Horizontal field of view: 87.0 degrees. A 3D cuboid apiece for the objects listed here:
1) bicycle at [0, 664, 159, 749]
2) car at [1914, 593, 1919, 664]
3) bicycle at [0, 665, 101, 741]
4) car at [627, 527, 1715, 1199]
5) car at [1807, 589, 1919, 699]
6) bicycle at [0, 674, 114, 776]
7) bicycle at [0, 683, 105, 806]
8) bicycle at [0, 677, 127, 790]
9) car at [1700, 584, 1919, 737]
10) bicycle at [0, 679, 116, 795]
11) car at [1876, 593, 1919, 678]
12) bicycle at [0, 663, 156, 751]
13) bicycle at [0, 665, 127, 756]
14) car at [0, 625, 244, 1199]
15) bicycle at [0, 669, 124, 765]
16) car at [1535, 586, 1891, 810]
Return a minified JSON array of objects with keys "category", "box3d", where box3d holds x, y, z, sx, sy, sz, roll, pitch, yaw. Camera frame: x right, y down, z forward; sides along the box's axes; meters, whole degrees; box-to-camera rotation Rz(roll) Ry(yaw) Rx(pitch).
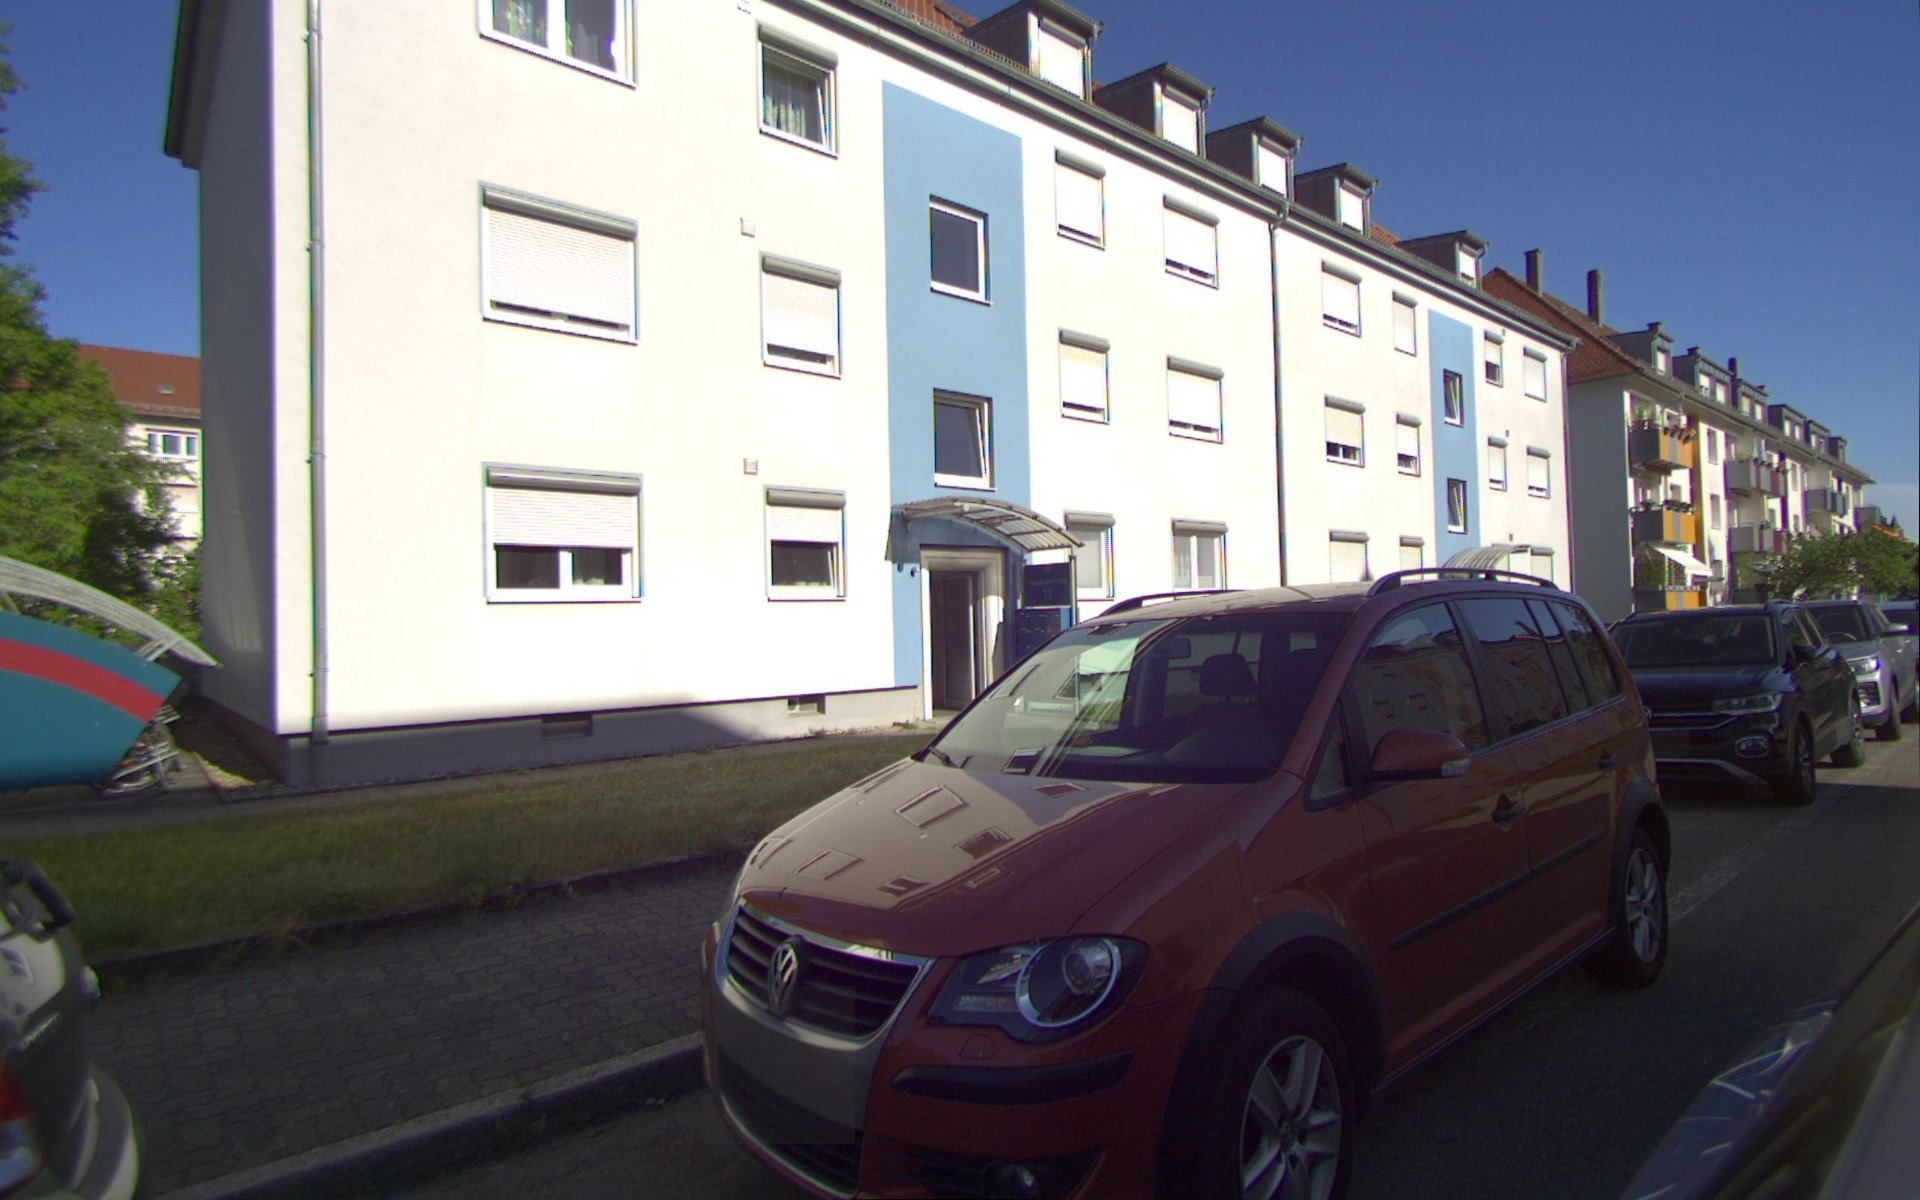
[{"category":"bicycle","box3d":[-11.611,1.375,13.294,1.709,0.958,0.421,-1,0,-40]},{"category":"car","box3d":[23.533,0.608,23.409,3.970,1.591,1.707,0,-1,-41]},{"category":"bicycle","box3d":[-12.985,1.420,13.938,1.706,0.958,0.422,-1,0,-33]},{"category":"car","box3d":[1.198,0.692,3.820,4.346,1.627,1.730,0,-1,-41]},{"category":"car","box3d":[15.112,0.629,16.221,3.970,1.591,1.707,0,-1,-41]},{"category":"bicycle","box3d":[-9.691,1.294,10.422,1.481,0.958,0.319,-1,0,-39]},{"category":"bicycle","box3d":[-8.013,1.223,8.496,1.260,0.958,0.319,-1,0,-39]},{"category":"bicycle","box3d":[-8.658,1.252,9.513,1.260,0.958,0.319,-1,0,-39]},{"category":"car","box3d":[10.651,0.635,12.415,3.808,1.591,1.707,0,-1,-41]},{"category":"bicycle","box3d":[-8.402,1.231,9.076,1.260,0.958,0.319,-1,0,-39]},{"category":"car","box3d":[19.526,0.647,19.919,3.970,1.591,1.707,0,-1,-41]},{"category":"bicycle","box3d":[-11.243,1.331,12.774,1.709,0.958,0.421,-1,0,-40]},{"category":"bicycle","box3d":[-10.701,1.286,11.827,1.481,0.958,0.319,-1,0,-39]},{"category":"car","box3d":[-2.840,0.793,0.575,3.794,1.467,1.617,0,-1,-44]},{"category":"bicycle","box3d":[-10.217,1.289,11.202,1.481,0.958,0.319,-1,0,-39]},{"category":"car","box3d":[6.733,0.684,8.916,3.808,1.544,1.707,0,-1,-41]}]
